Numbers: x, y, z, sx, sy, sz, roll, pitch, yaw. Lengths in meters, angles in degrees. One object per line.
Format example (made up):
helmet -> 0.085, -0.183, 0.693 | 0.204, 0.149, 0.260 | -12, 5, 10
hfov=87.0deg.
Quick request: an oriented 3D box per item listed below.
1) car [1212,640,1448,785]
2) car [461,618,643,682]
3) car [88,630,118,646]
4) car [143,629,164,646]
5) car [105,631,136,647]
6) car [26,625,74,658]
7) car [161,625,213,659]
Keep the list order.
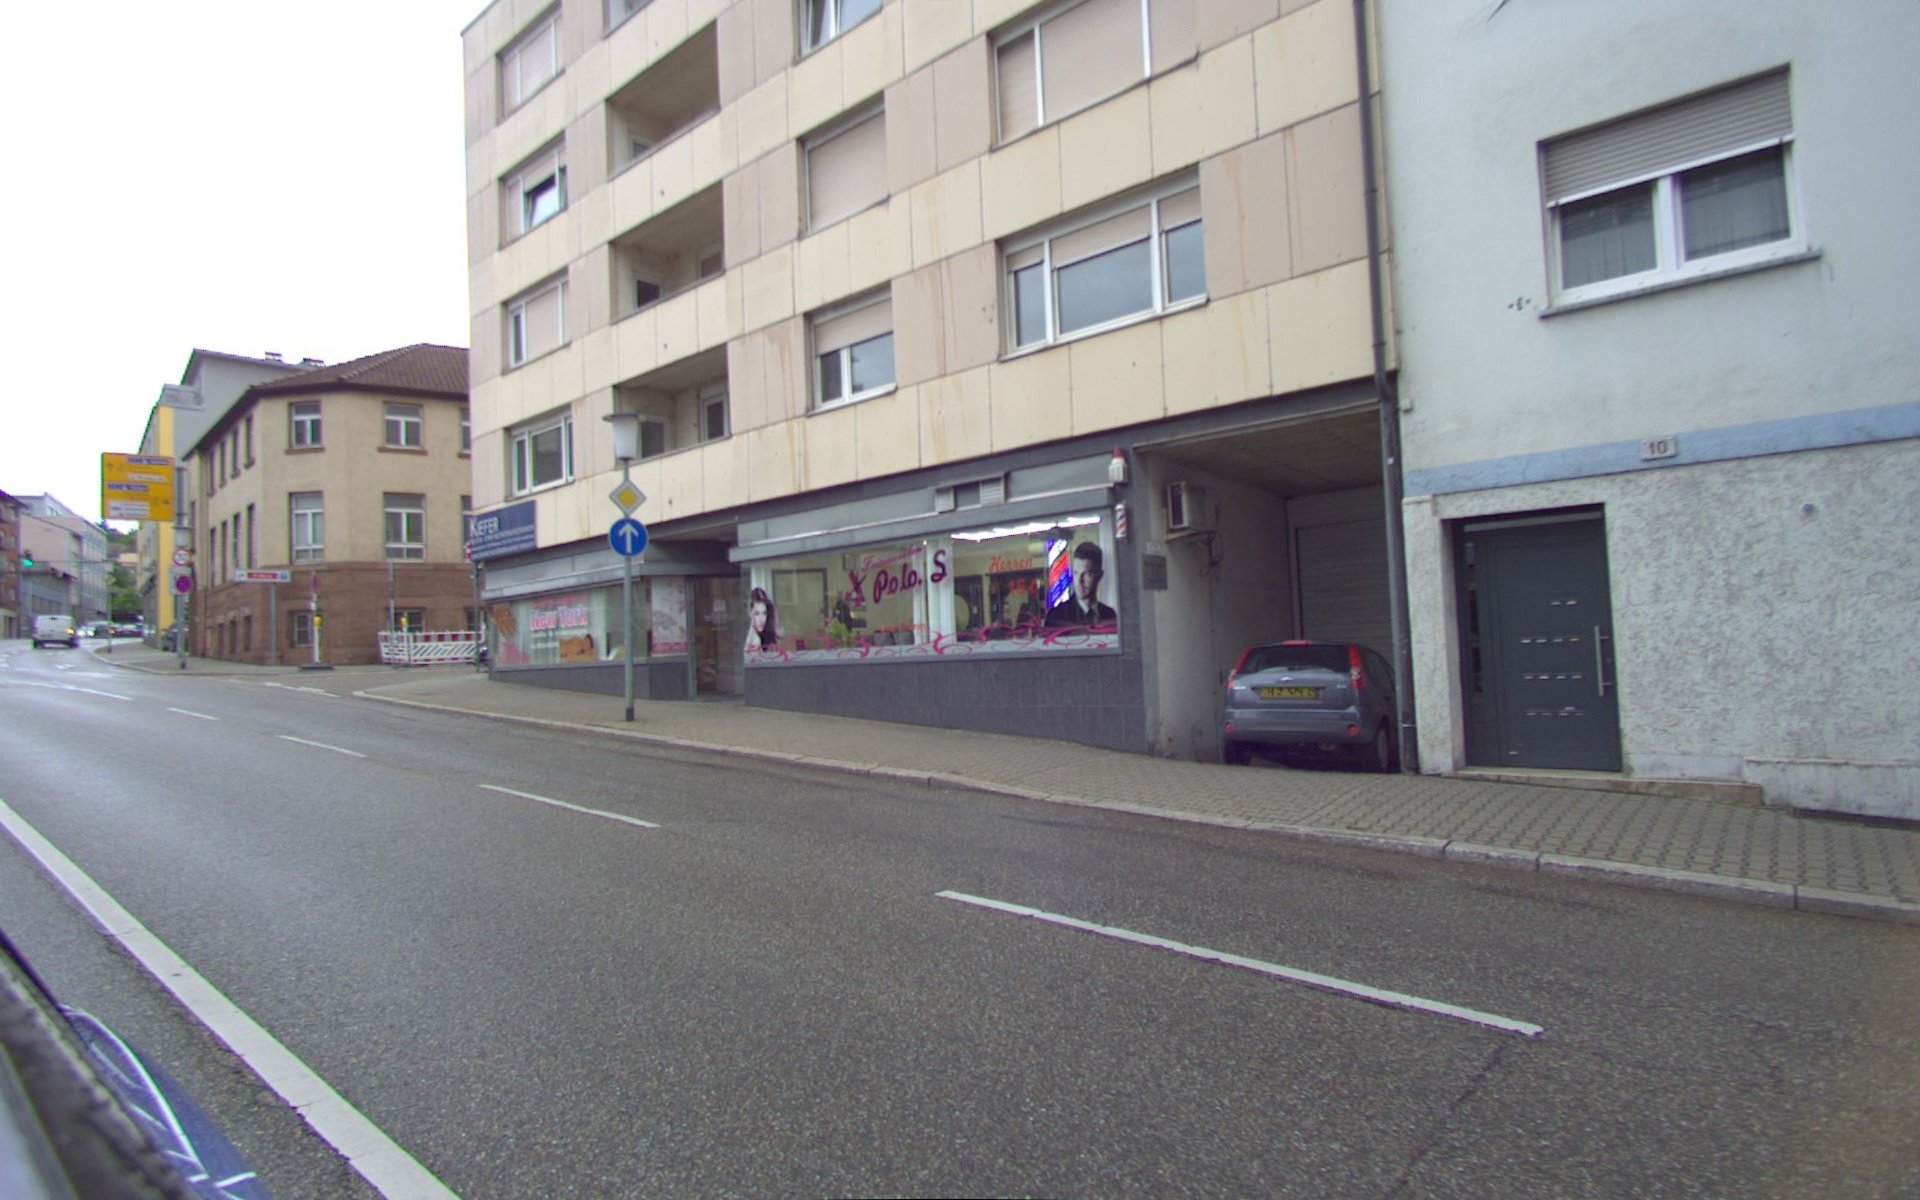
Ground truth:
car -> 4.390, 1.365, 11.661 | 1.674, 1.361, 3.954 | -3, -10, 33
car -> -11.193, 1.325, 27.913 | 4.296, 1.515, 1.757 | -1, -1, -39
car -> -81.979, 3.592, 96.882 | 1.833, 1.465, 4.328 | 1, -2, -36
car -> -92.833, 4.301, 116.471 | 1.820, 1.918, 3.772 | 0, -1, -38
car -> -76.380, 3.527, 92.040 | 1.836, 1.465, 4.322 | 2, -2, -44
car -> -51.920, 2.351, 57.810 | 1.838, 1.817, 4.272 | 2, -3, -40
car -> -37.306, 2.004, 48.803 | 1.834, 1.465, 3.969 | -3, 0, -39
